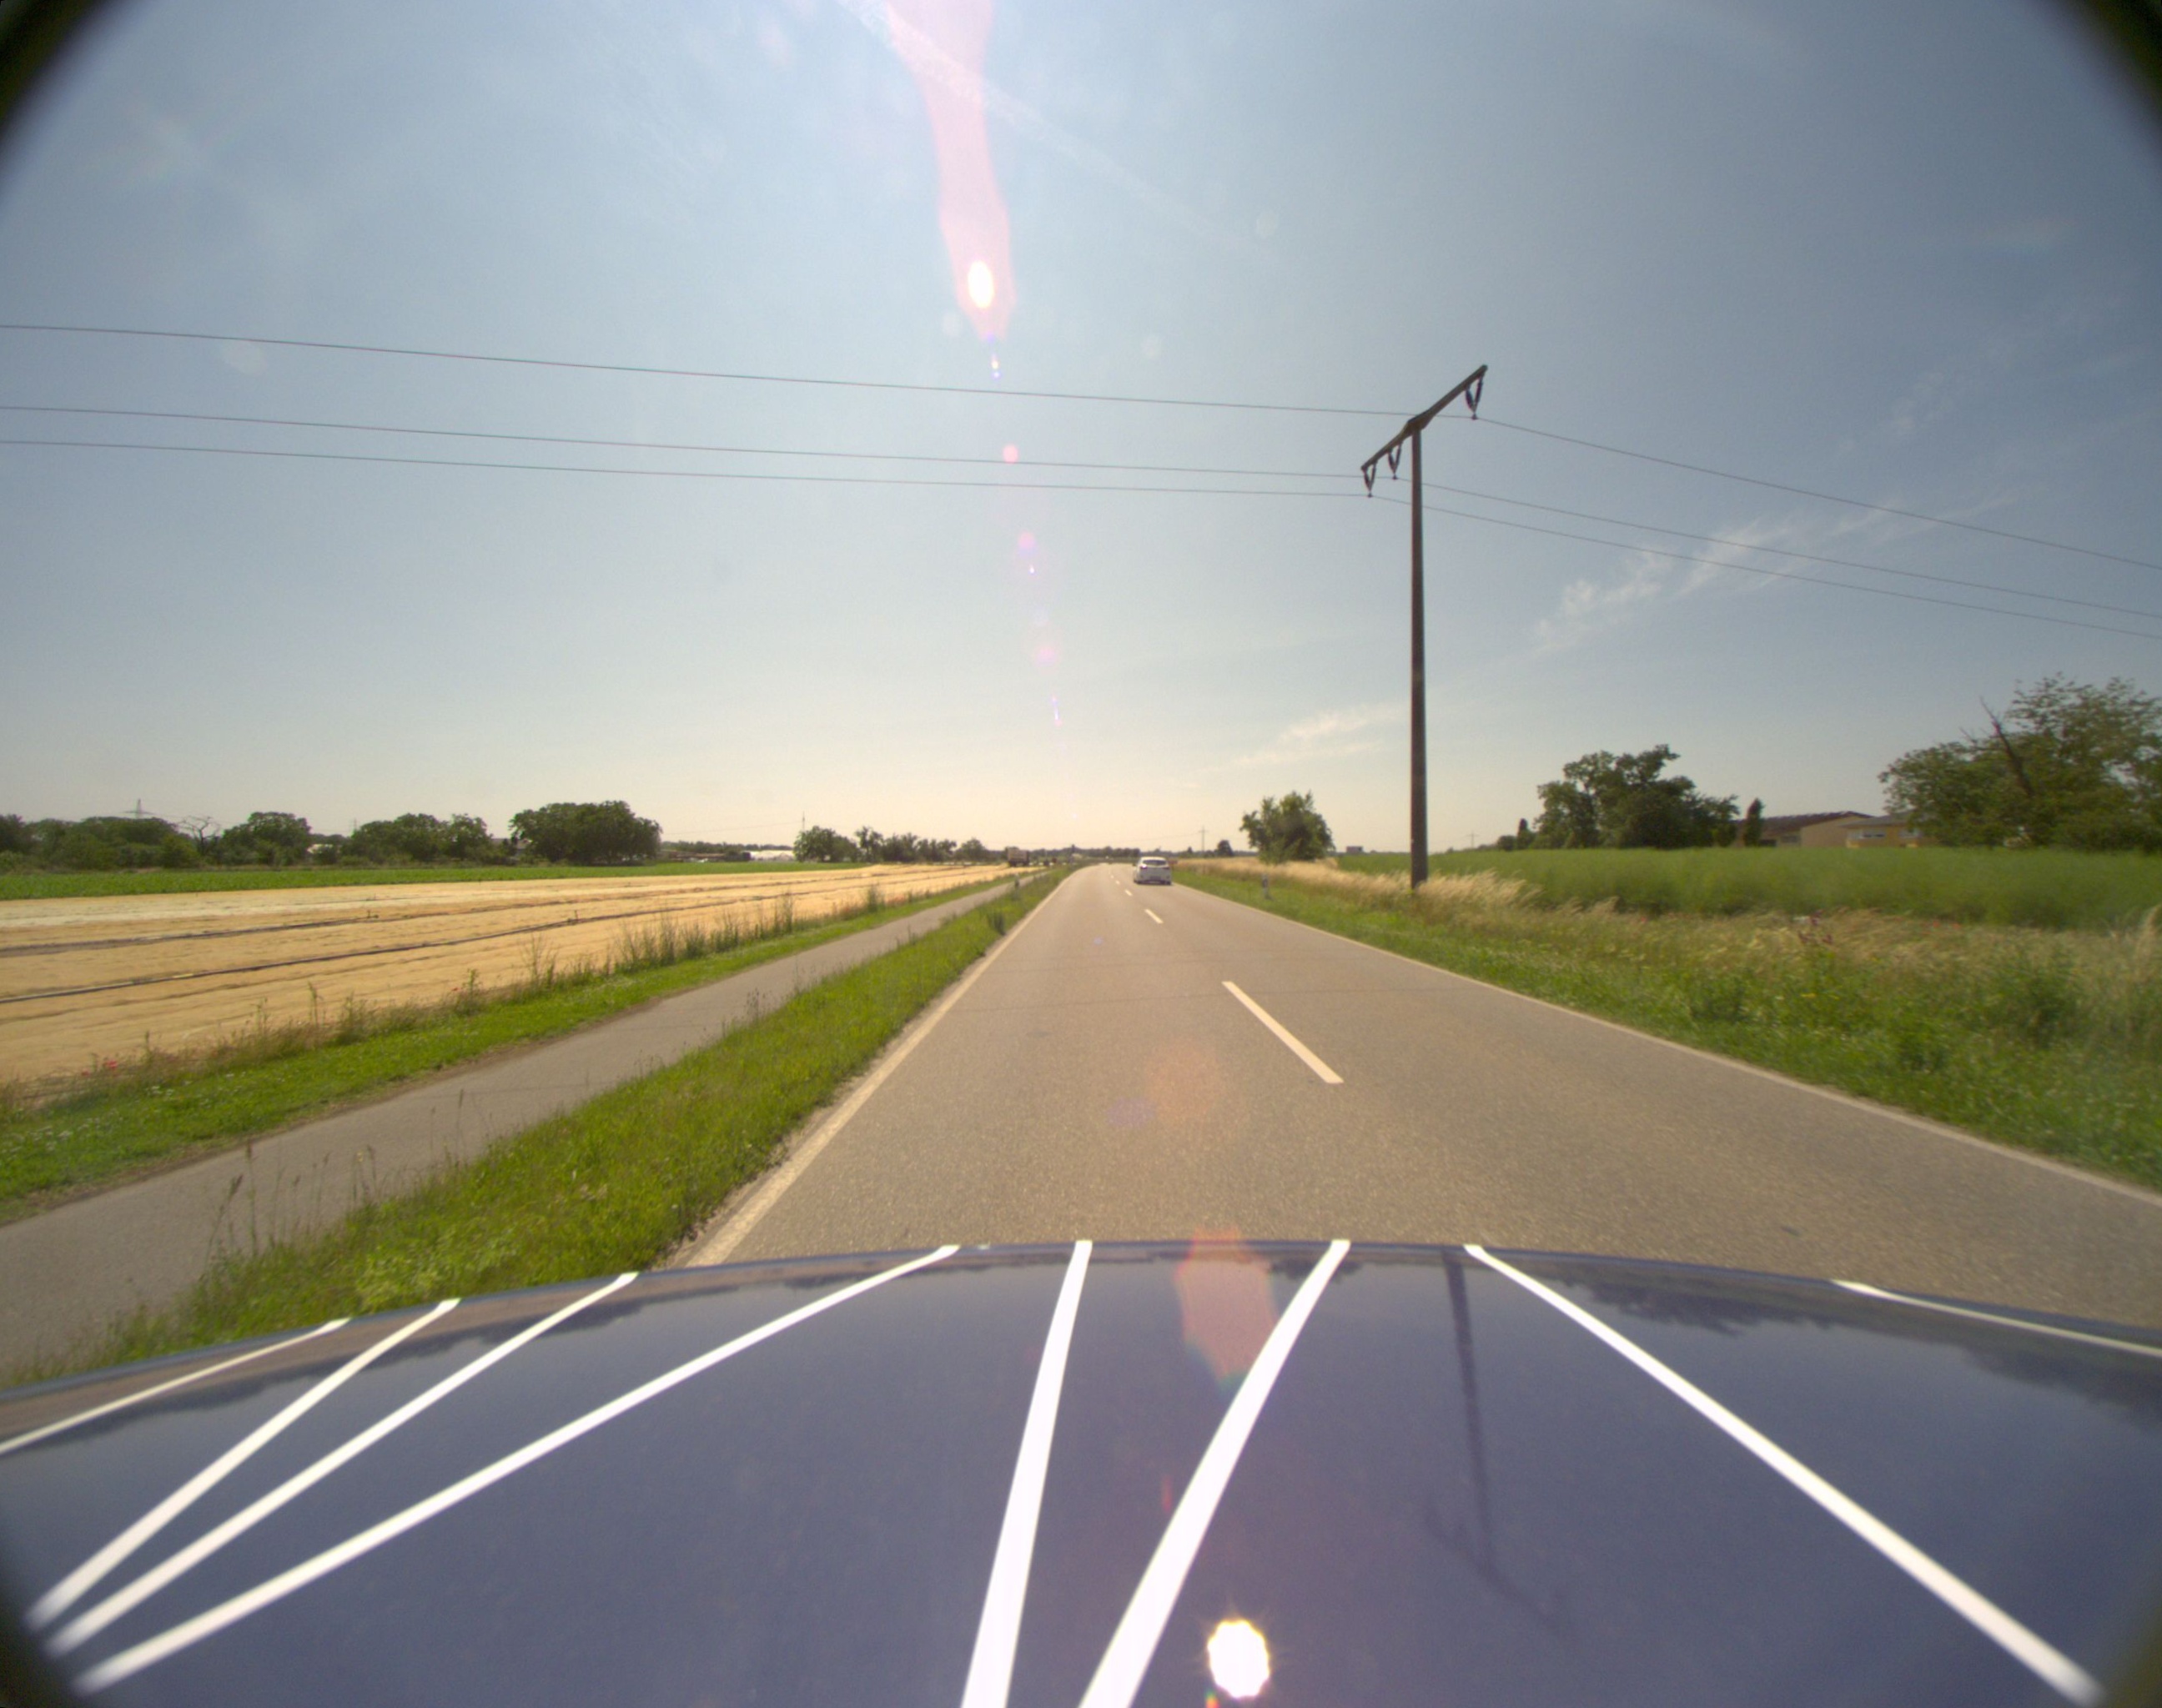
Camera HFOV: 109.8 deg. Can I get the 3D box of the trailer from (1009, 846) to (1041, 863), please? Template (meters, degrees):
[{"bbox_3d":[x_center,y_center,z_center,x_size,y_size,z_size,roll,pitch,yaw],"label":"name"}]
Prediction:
[{"bbox_3d":[-9.838,0.072,134.497,5.283,2.936,2.002,1,2,21],"label":"trailer"}]

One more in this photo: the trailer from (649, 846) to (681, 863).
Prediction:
[{"bbox_3d":[-111.643,0.140,203.965,7.427,4.197,3.161,-1,1,13],"label":"trailer"}]

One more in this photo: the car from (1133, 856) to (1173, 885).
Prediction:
[{"bbox_3d":[3.857,0.850,41.239,1.796,1.401,4.185,1,0,1],"label":"car"}]
